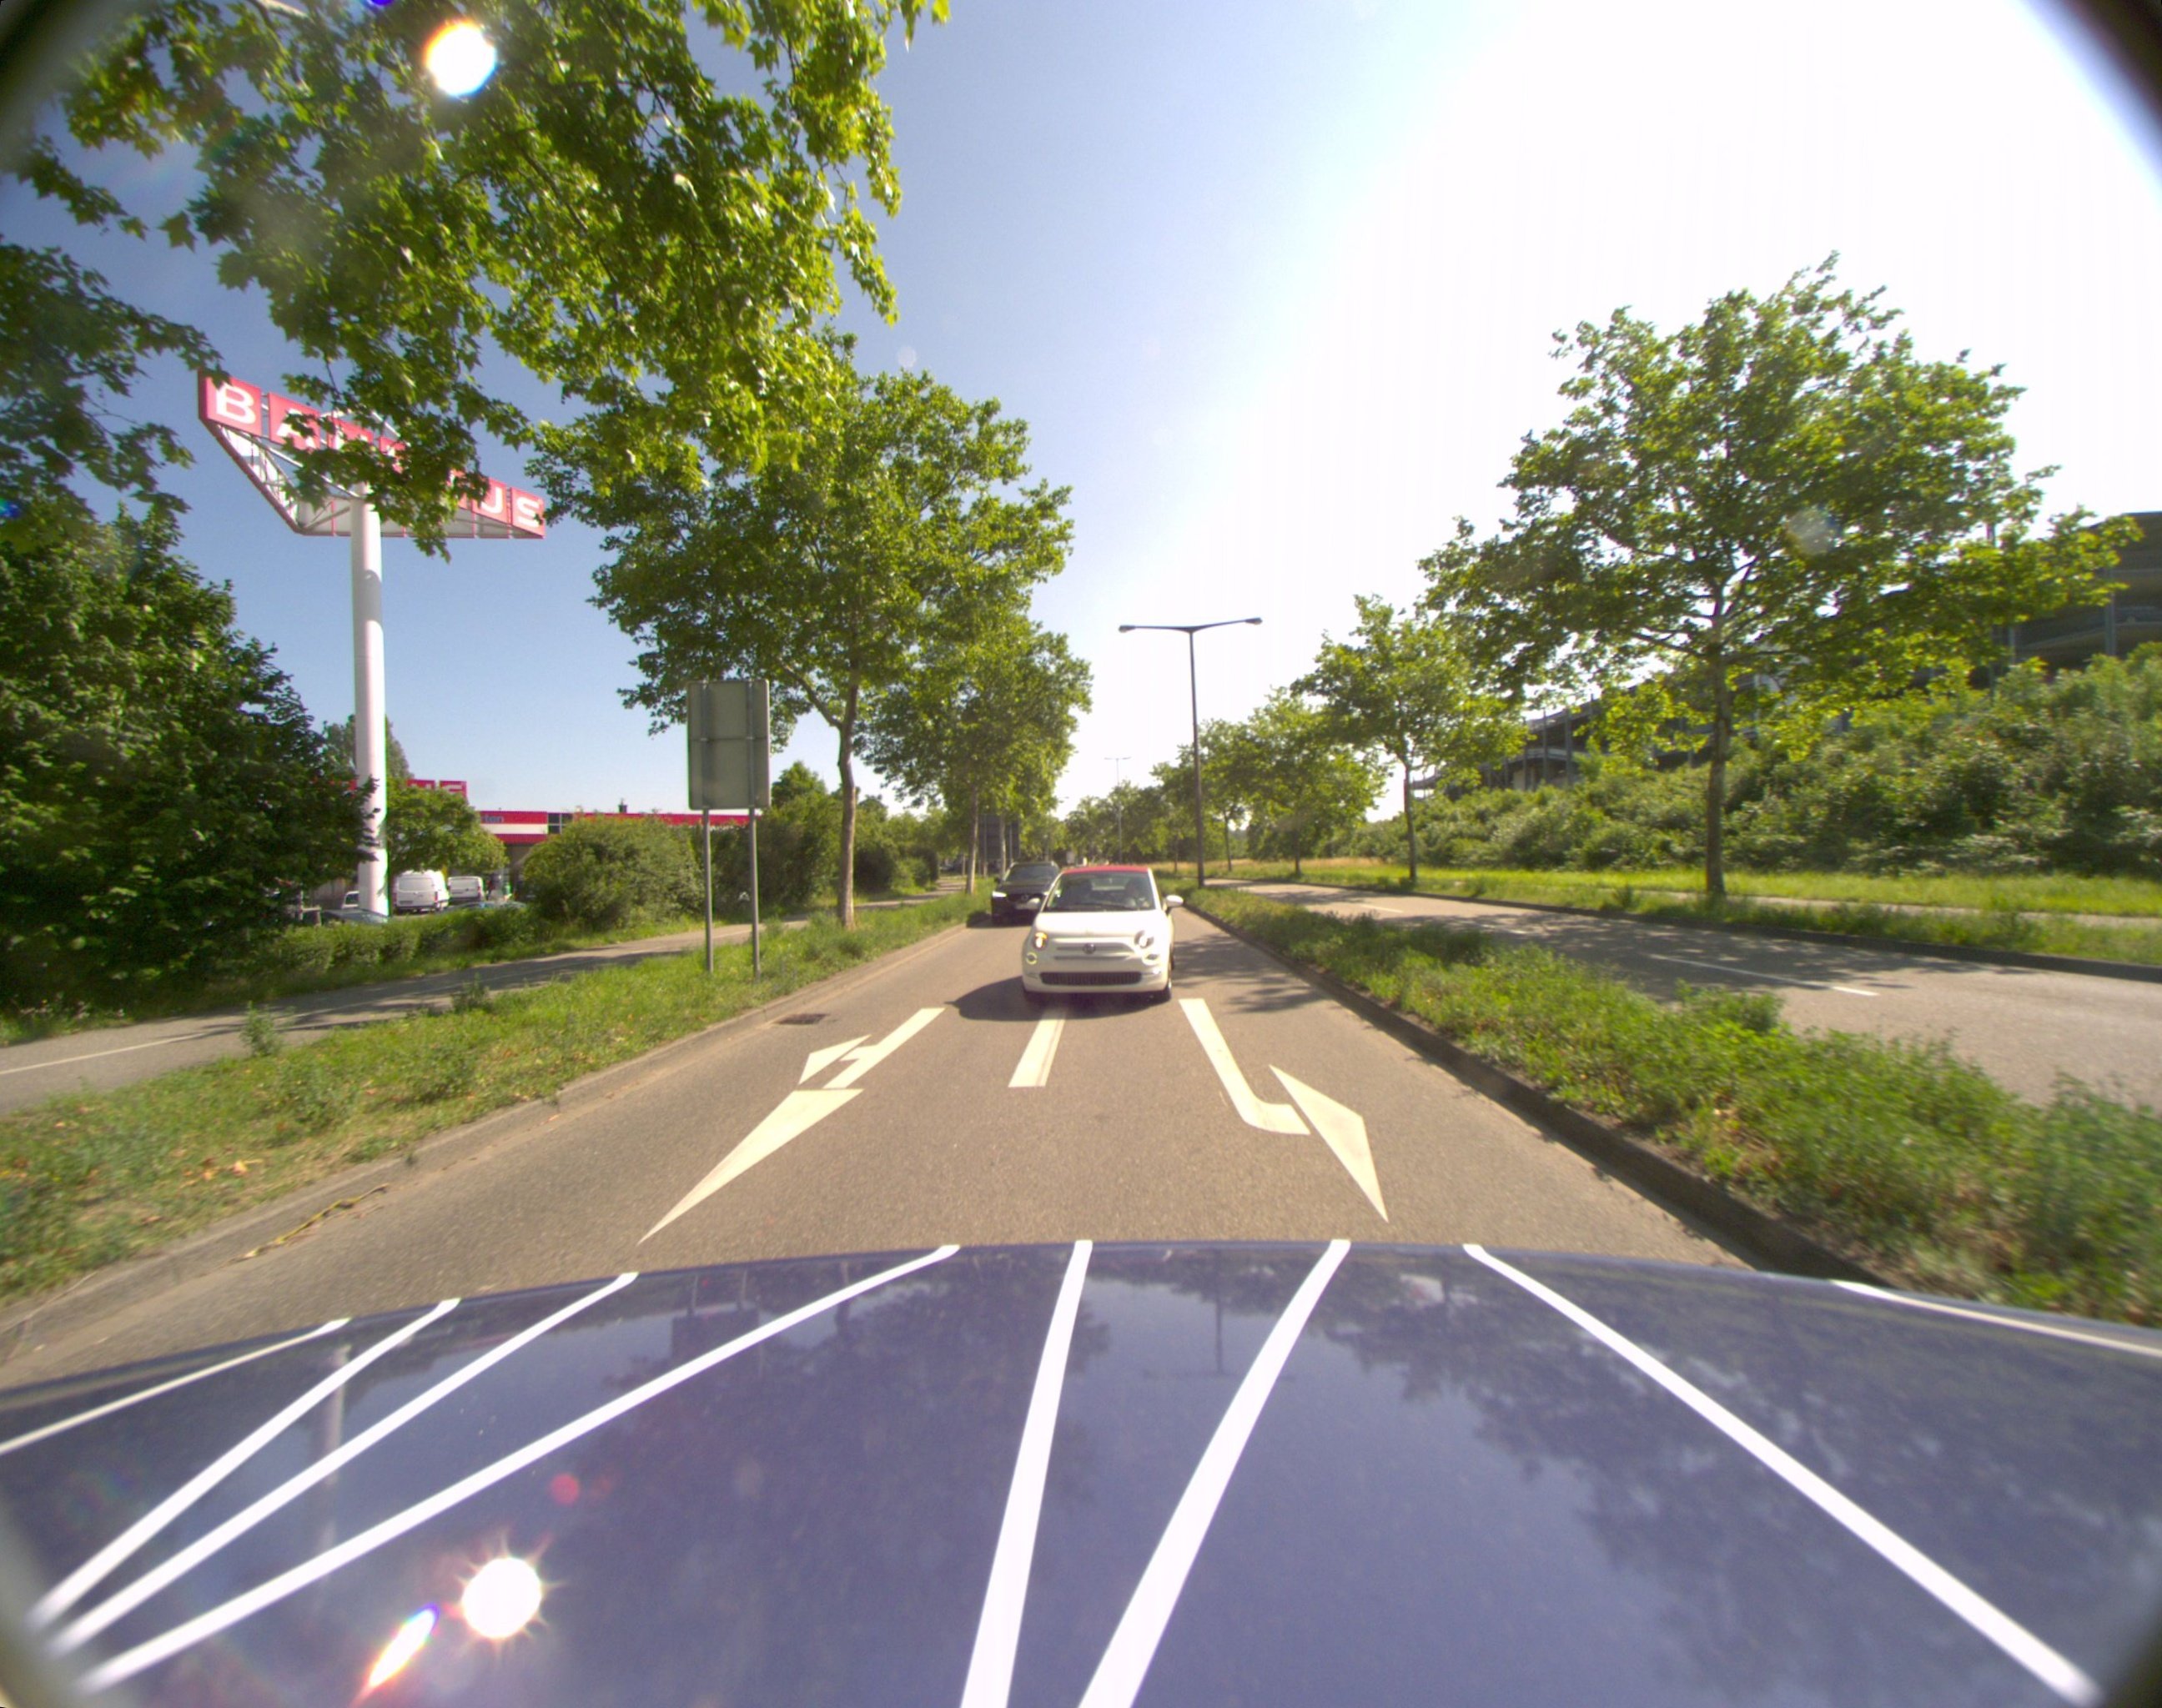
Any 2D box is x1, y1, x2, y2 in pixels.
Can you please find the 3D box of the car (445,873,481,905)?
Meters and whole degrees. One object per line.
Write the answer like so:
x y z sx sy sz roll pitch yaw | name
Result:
-49.227 2.758 60.601 2.003 2.392 3.990 -3 0 -38 | car

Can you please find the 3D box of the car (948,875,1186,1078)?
0.108 1.027 7.695 1.664 1.428 3.522 -3 0 10 | car

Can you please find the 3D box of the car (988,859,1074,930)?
-1.260 1.022 21.148 1.924 1.613 4.565 -3 0 1 | car

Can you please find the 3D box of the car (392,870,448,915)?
-39.816 2.283 45.867 2.003 2.494 3.990 -3 0 -35 | car

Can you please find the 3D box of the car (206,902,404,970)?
-22.073 2.297 21.736 3.774 1.576 1.740 -3 0 0 | car
